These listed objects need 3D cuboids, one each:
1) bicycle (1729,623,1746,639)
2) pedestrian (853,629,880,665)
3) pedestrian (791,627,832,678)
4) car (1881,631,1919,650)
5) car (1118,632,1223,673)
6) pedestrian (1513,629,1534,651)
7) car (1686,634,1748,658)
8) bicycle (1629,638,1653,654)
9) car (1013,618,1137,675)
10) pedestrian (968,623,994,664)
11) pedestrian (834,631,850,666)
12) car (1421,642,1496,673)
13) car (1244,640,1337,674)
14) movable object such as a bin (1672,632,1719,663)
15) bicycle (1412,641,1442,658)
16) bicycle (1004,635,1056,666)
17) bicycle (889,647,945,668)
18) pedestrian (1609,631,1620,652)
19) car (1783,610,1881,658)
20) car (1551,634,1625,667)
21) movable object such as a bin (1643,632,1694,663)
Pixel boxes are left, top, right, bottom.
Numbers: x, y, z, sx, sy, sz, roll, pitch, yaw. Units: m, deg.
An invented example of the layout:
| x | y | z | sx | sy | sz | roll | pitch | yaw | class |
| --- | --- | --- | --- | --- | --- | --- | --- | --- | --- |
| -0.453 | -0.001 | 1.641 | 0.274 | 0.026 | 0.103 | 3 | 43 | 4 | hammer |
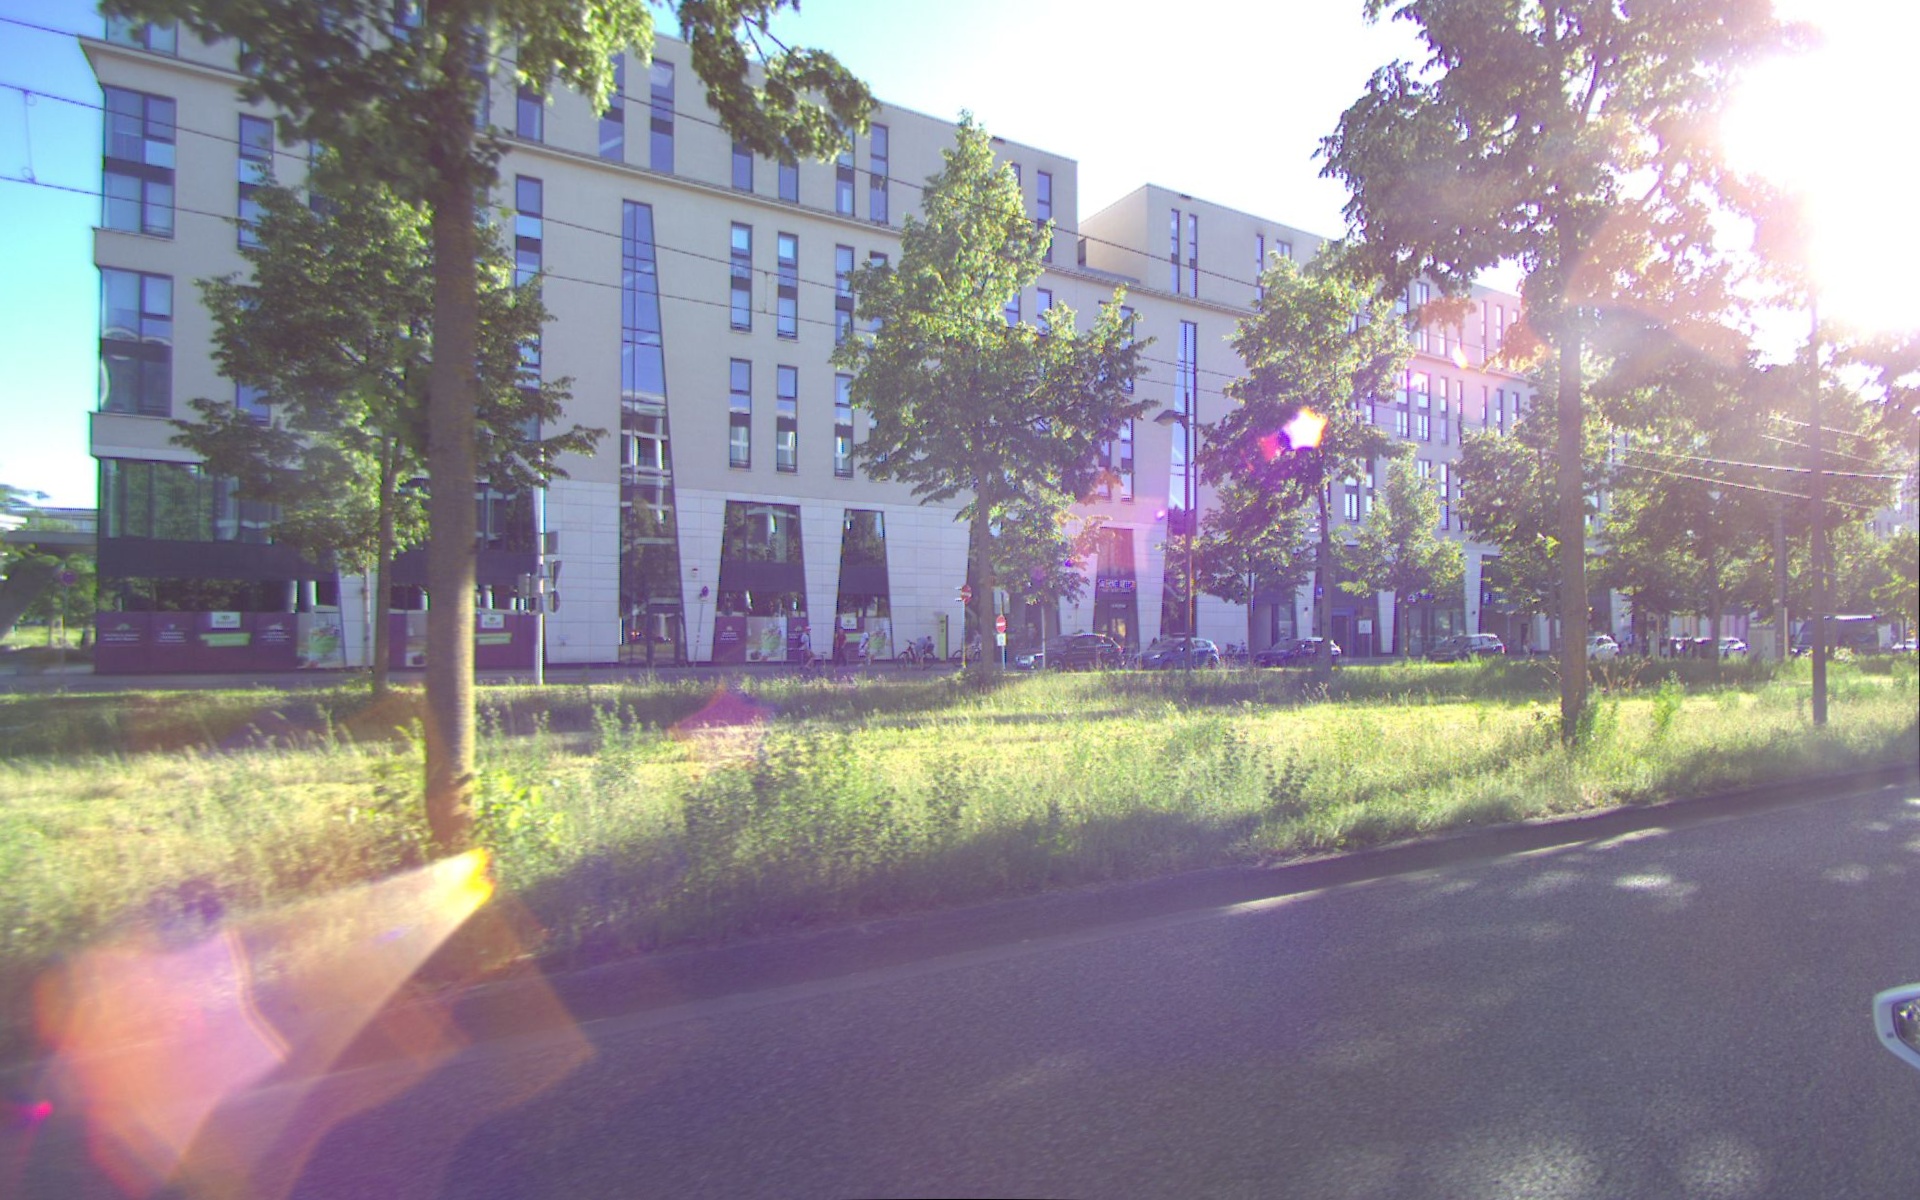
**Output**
| x | y | z | sx | sy | sz | roll | pitch | yaw | class |
| --- | --- | --- | --- | --- | --- | --- | --- | --- | --- |
| 63.652 | 2.533 | 82.212 | 1.591 | 1.298 | 0.594 | 2 | 0 | -33 | bicycle |
| -4.061 | 2.042 | 43.702 | 0.951 | 1.557 | 0.654 | 2 | 0 | -27 | pedestrian |
| -5.357 | 1.883 | 36.239 | 1.209 | 1.766 | 0.838 | 2 | 0 | -30 | pedestrian |
| 78.375 | 3.320 | 83.165 | 4.728 | 1.460 | 1.982 | 2 | 0 | -33 | car |
| 8.631 | 2.105 | 41.112 | 3.953 | 1.592 | 1.984 | 1 | -2 | -31 | car |
| 39.065 | 2.769 | 69.626 | 1.019 | 1.487 | 0.939 | 2 | 0 | -39 | pedestrian |
| 49.379 | 2.975 | 65.532 | 3.976 | 1.460 | 1.982 | 2 | 0 | -33 | car |
| 50.533 | 3.415 | 74.520 | 2.358 | 1.152 | 0.859 | 2 | 0 | -40 | bicycle |
| 4.416 | 1.754 | 38.418 | 4.506 | 2.040 | 1.982 | 1 | -2 | -33 | car |
| 0.961 | 2.001 | 46.549 | 0.951 | 1.880 | 0.654 | 2 | 0 | -27 | pedestrian |
| -5.084 | 2.072 | 43.205 | 0.453 | 1.479 | 0.600 | 2 | 0 | -28 | pedestrian |
| 25.324 | 2.882 | 50.978 | 4.227 | 1.499 | 1.549 | 1 | -2 | -34 | car |
| 14.730 | 2.505 | 44.738 | 4.292 | 1.432 | 1.713 | 1 | -2 | -34 | car |
| 46.479 | 3.005 | 63.478 | 1.539 | 1.818 | 1.959 | 2 | 0 | -32 | movable object such as a bin |
| 28.562 | 3.019 | 61.441 | 1.823 | 1.001 | 0.615 | 2 | 0 | -26 | bicycle |
| 3.210 | 2.300 | 45.729 | 2.303 | 1.342 | 0.660 | 2 | 0 | -25 | bicycle |
| -1.825 | 2.451 | 42.681 | 2.300 | 0.859 | 0.660 | 2 | 0 | -21 | bicycle |
| 49.568 | 3.159 | 76.071 | 0.511 | 1.570 | 0.502 | 2 | 0 | 12 | pedestrian |
| 47.209 | 1.835 | 54.344 | 5.965 | 2.413 | 2.490 | 2 | 0 | -33 | car |
| 36.180 | 2.874 | 57.860 | 4.292 | 1.752 | 1.982 | 2 | 0 | -33 | car |
| 43.288 | 2.898 | 61.378 | 1.989 | 1.818 | 1.959 | 2 | 0 | -33 | movable object such as a bin |
